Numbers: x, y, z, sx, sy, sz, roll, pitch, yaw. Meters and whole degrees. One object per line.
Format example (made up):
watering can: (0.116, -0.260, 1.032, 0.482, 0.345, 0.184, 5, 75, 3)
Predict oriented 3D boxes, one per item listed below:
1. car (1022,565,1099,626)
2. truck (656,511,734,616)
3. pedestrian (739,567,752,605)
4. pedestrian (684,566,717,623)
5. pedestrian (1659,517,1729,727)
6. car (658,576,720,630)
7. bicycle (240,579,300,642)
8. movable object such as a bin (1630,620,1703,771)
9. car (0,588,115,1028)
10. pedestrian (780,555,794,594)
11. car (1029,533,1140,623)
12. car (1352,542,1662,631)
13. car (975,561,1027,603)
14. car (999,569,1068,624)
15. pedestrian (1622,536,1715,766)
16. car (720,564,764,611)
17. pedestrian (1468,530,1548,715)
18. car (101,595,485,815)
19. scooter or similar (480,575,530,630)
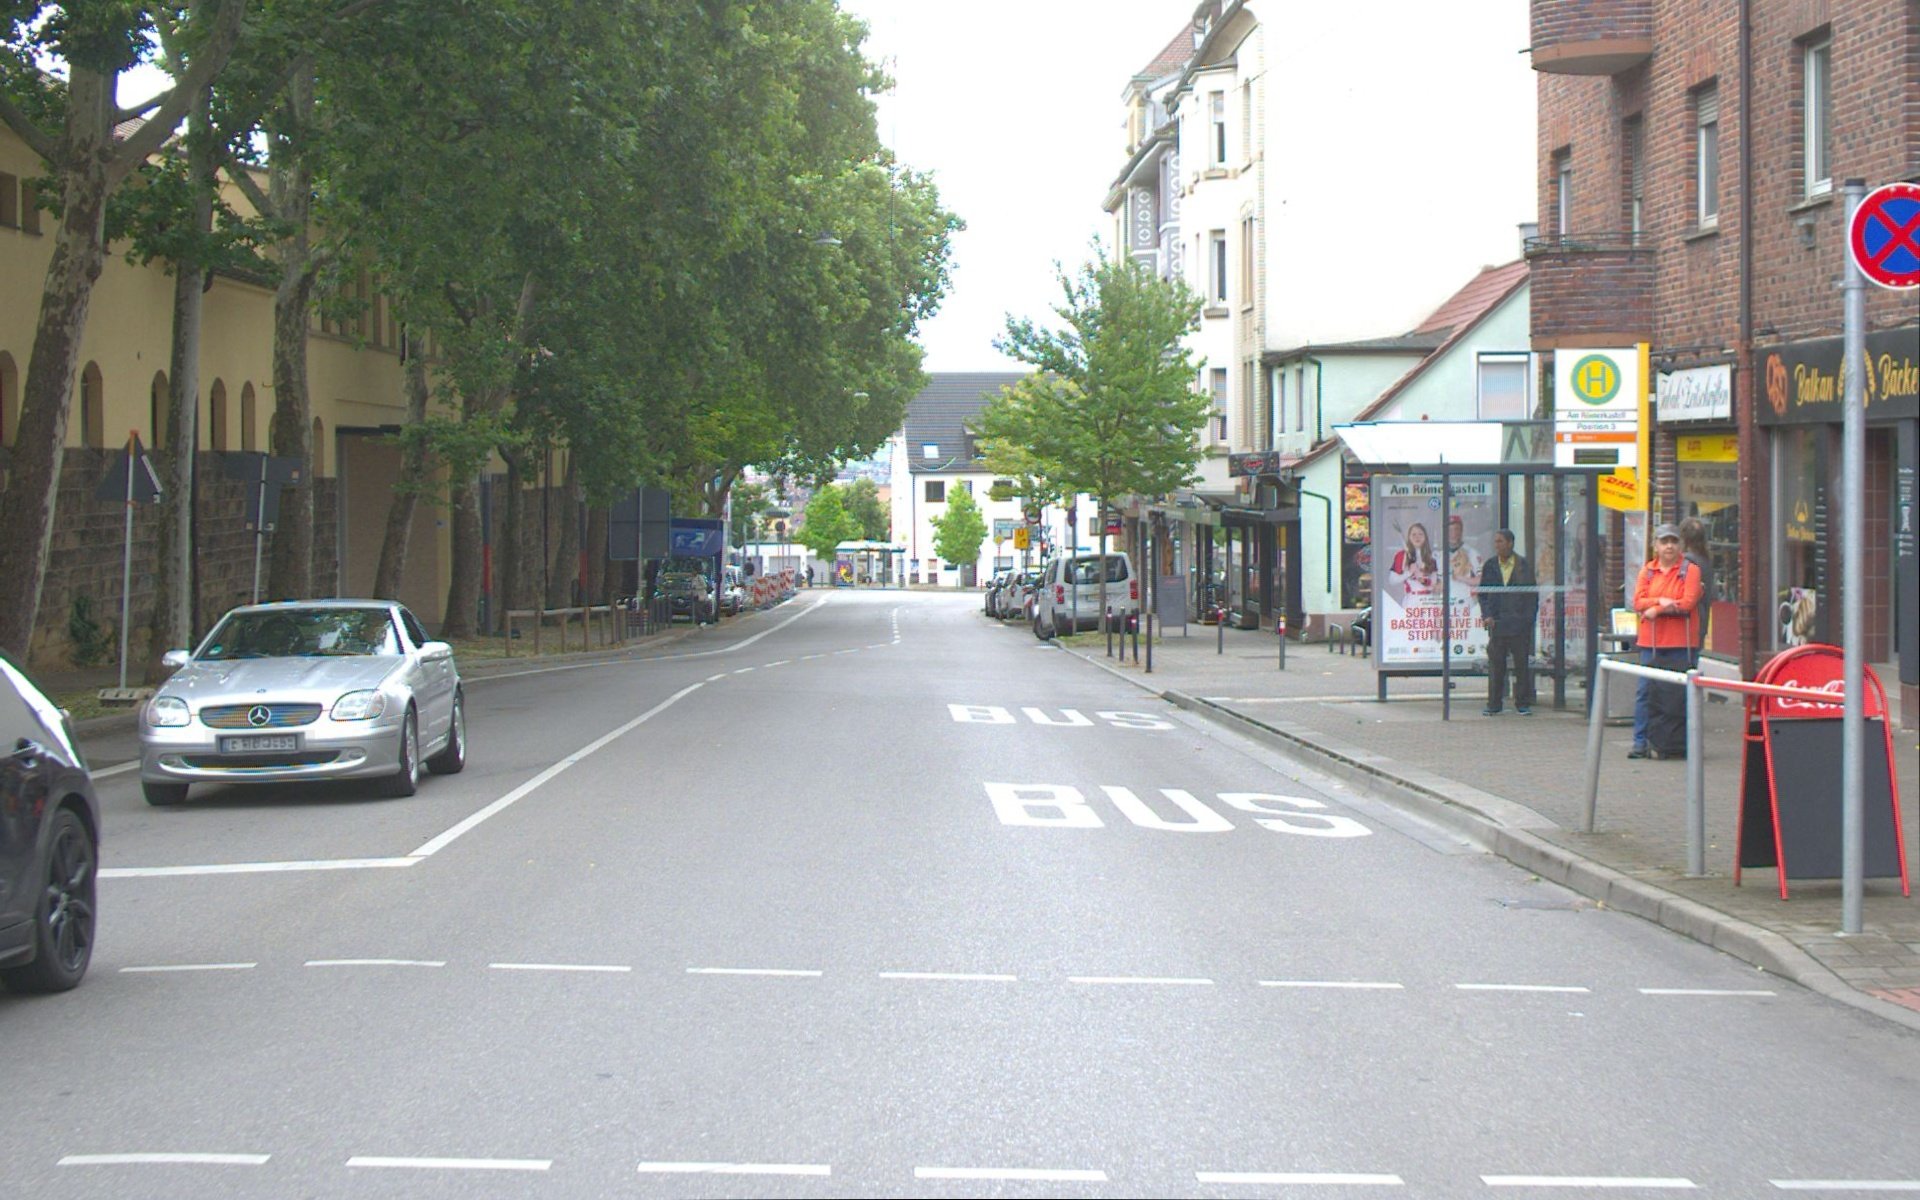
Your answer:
car: (2.636, -0.132, 90.707, 1.668, 1.542, 3.757, 0, 1, -4)
truck: (-8.678, -1.208, 113.207, 2.230, 3.335, 7.450, 0, 1, -2)
pedestrian: (-11.399, -0.754, 182.980, 0.633, 1.988, 0.784, 0, 1, 1)
pedestrian: (-7.087, -0.153, 93.746, 0.672, 1.531, 0.611, 0, 1, -36)
pedestrian: (6.178, 0.183, 28.945, 0.479, 1.759, 0.458, 0, 0, -1)
car: (-8.169, 0.077, 103.850, 1.834, 1.572, 3.757, 0, 1, -4)
bicycle: (-12.569, 0.188, 62.679, 0.596, 1.087, 2.195, 2, 1, 0)
movable object such as a bin: (5.047, 0.677, 24.541, 0.453, 1.053, 0.410, 0, 0, 19)
car: (-3.995, 0.709, 10.400, 1.703, 1.409, 4.192, -1, 1, 2)
pedestrian: (-8.892, -1.300, 176.558, 0.633, 2.007, 0.784, 0, 1, 1)
car: (2.764, -0.513, 77.298, 1.993, 1.929, 4.919, 0, 1, -4)
car: (9.392, -0.254, 59.038, 4.909, 1.464, 1.926, 1, 1, 26)
car: (1.558, -0.700, 130.739, 1.668, 1.542, 3.757, 0, 1, -4)
car: (2.127, -0.114, 100.549, 1.668, 1.542, 3.757, 0, 1, -4)
pedestrian: (5.120, 0.357, 24.829, 0.565, 1.631, 0.680, 1, 1, 19)
car: (-7.910, -0.470, 124.679, 1.533, 1.633, 3.719, 0, 1, -4)
pedestrian: (5.156, 0.202, 32.371, 0.670, 1.722, 0.763, 0, 1, 4)
car: (-4.362, 0.640, 23.067, 1.685, 1.271, 4.095, -2, 0, 1)
scooter or similar: (-9.777, 0.056, 73.891, 1.028, 1.180, 0.491, 0, 1, -10)
